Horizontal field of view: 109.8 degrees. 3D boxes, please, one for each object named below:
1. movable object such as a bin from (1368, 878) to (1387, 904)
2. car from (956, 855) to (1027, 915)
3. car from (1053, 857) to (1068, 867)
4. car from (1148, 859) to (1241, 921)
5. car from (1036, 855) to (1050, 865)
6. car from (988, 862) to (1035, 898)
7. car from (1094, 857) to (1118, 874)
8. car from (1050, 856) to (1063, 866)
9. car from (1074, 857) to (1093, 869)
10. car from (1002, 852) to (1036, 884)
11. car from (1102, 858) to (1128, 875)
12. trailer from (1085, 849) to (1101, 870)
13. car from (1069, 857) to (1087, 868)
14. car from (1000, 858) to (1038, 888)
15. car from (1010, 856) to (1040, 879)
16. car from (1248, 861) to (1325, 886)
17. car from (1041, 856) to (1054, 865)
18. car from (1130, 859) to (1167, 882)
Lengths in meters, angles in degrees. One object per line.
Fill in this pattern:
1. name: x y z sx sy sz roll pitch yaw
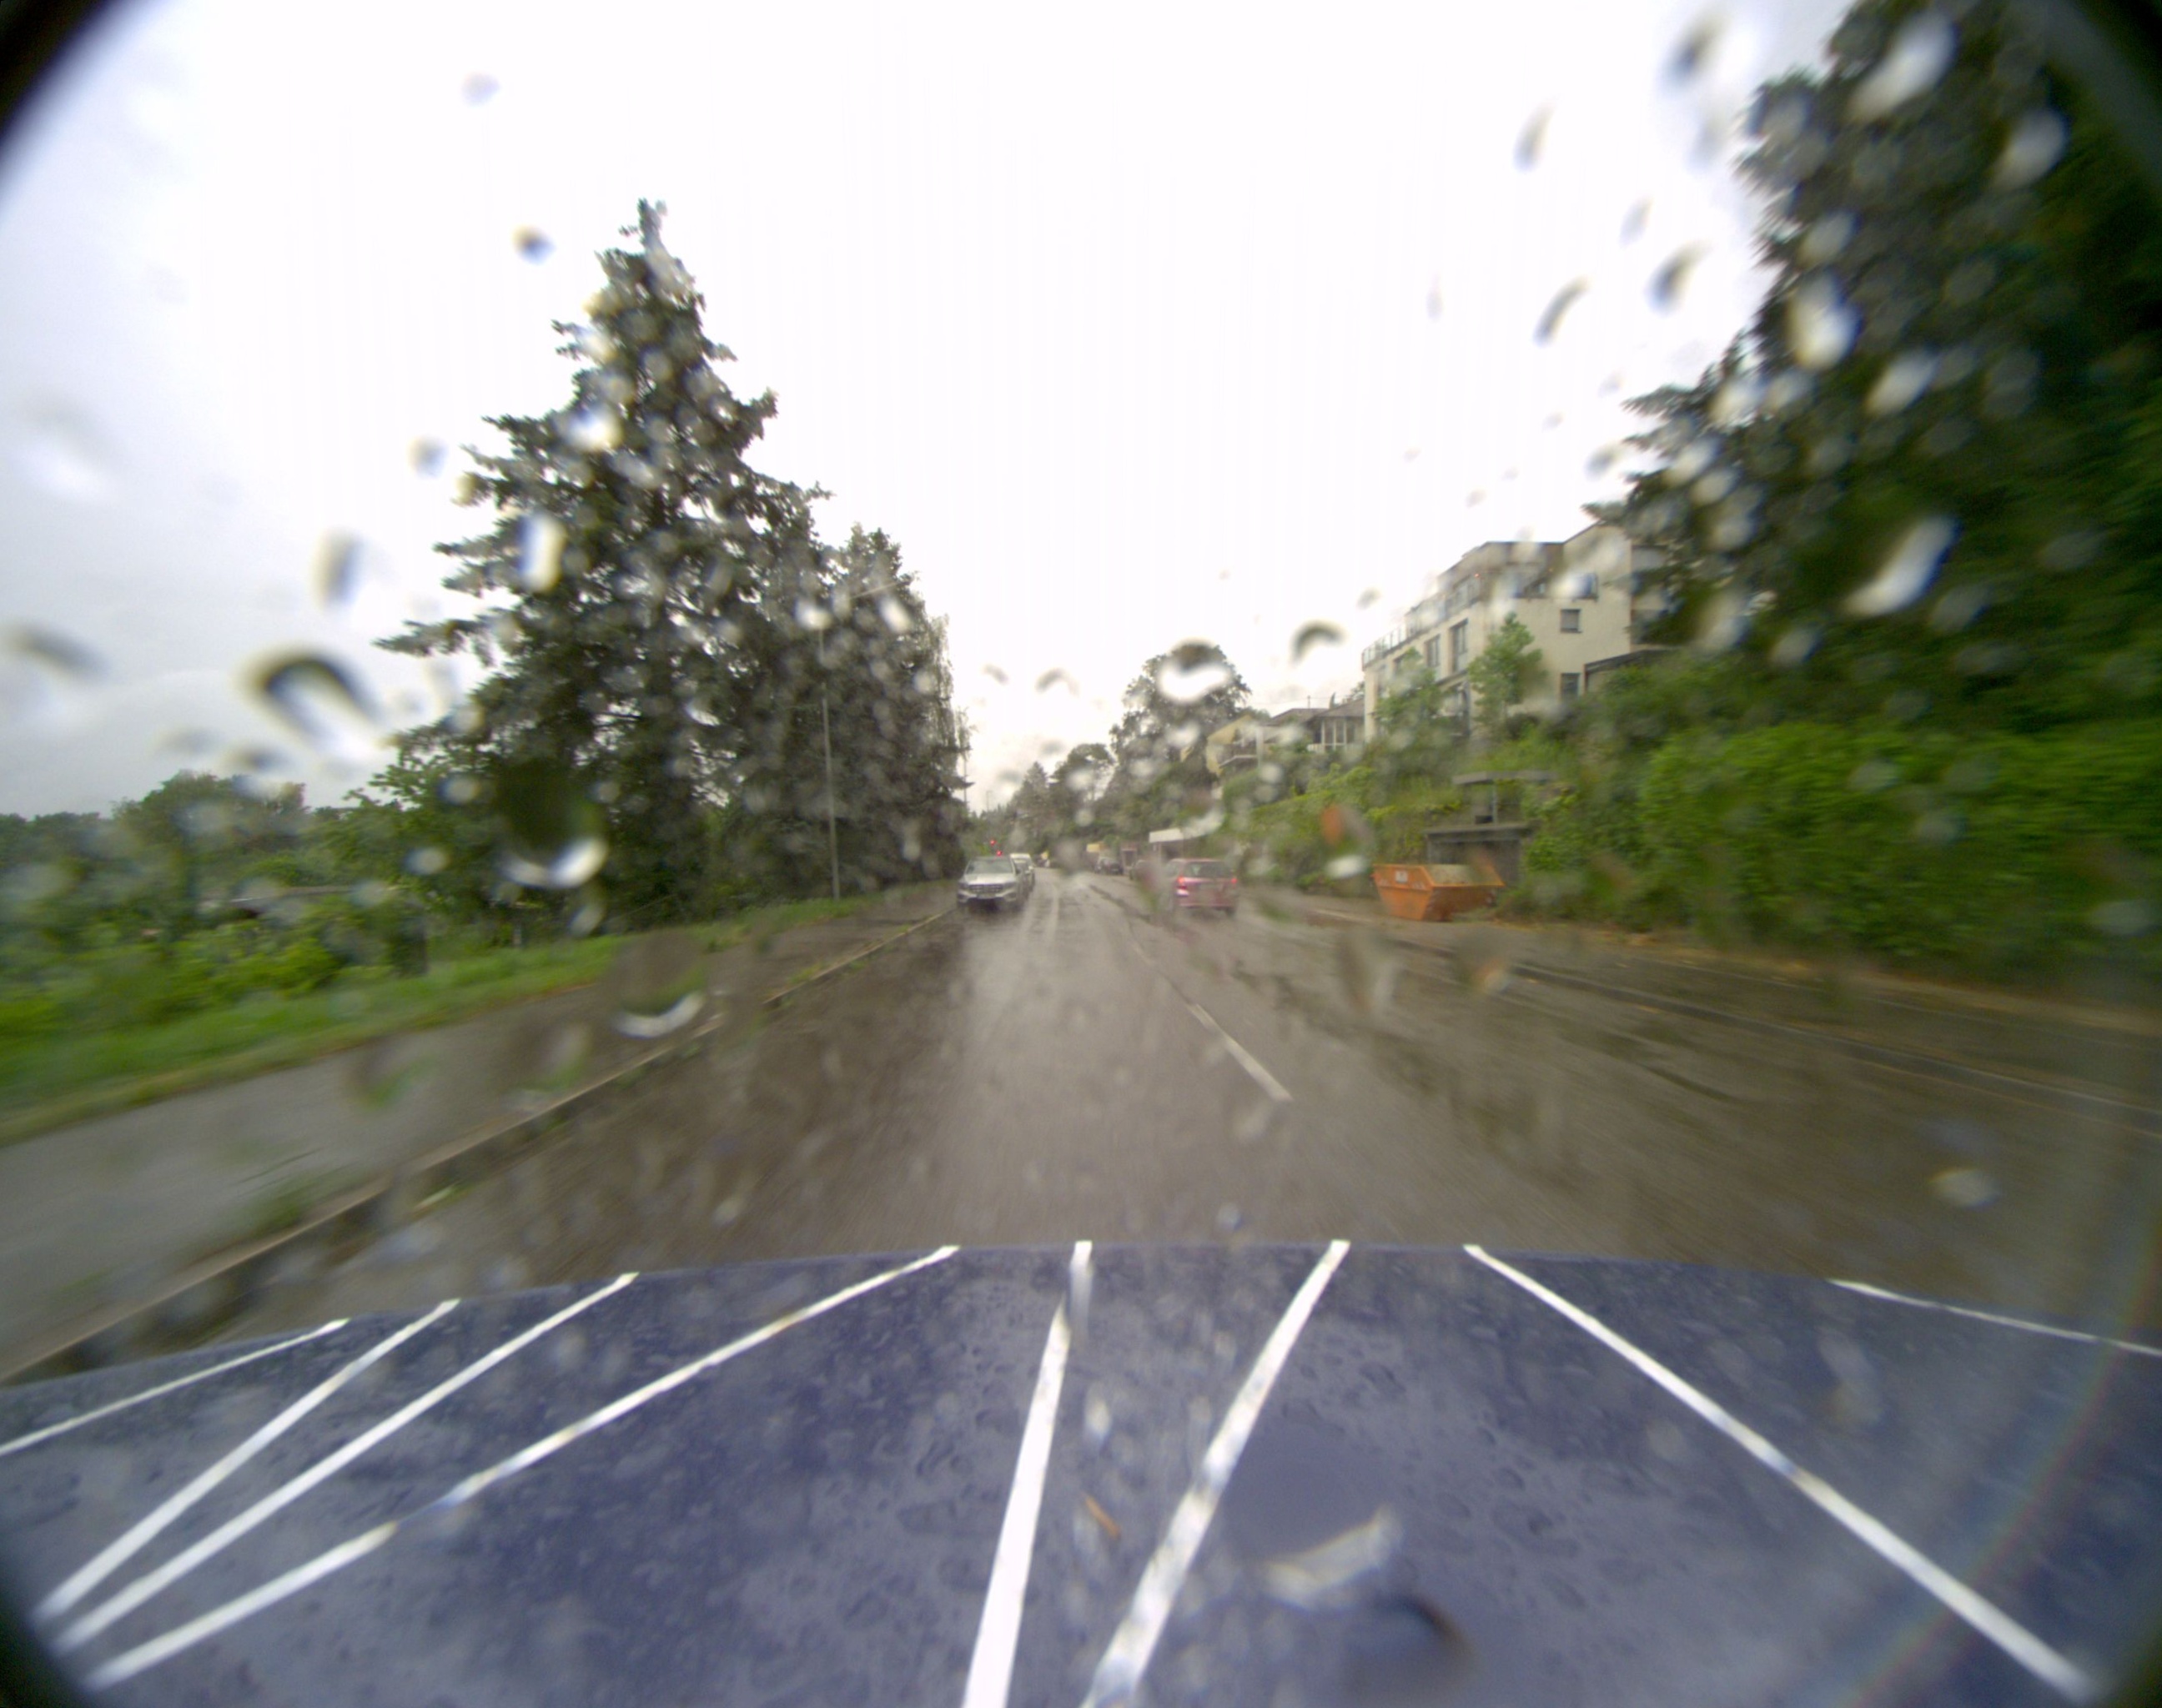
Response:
1. movable object such as a bin: 10.052 1.240 25.731 0.399 0.816 0.549 -1 4 -3
2. car: -2.666 0.883 23.526 1.820 1.636 4.394 -1 0 -2
3. car: -3.385 1.324 124.626 1.880 1.616 4.590 3 -1 -8
4. car: 2.924 0.877 20.267 1.667 1.452 3.660 -1 0 -4
5. car: -7.863 1.168 155.602 2.166 1.907 5.318 0 0 -10
6. car: -2.758 1.002 30.926 1.635 1.274 4.446 -1 0 -2
7. car: 2.436 1.071 73.794 1.761 1.530 3.754 3 -1 -6
8. car: -4.218 1.225 129.897 1.747 1.552 4.106 2 0 -8
9. car: 0.306 1.120 94.415 1.814 1.341 3.773 1 -1 -7
10. car: -3.648 0.788 45.201 1.789 1.780 4.360 -1 0 -2
11. car: 3.070 1.113 68.910 1.761 1.400 3.703 3 -1 -6
12. trailer: 1.411 0.667 89.028 1.541 2.385 3.071 2 0 -4
13. car: -0.420 1.171 101.240 1.791 1.406 4.215 1 -1 -7
14. car: -3.092 0.924 38.288 1.714 1.395 4.202 -1 0 -2
15. car: -3.718 0.865 50.836 1.794 1.451 4.307 -1 0 -2
16. car: 11.467 1.063 42.551 3.767 1.375 1.866 0 0 -1
17. car: -6.487 1.250 145.409 1.915 1.472 4.751 2 0 -9
18. car: 4.509 1.084 51.461 1.761 1.394 3.768 2 0 -6
